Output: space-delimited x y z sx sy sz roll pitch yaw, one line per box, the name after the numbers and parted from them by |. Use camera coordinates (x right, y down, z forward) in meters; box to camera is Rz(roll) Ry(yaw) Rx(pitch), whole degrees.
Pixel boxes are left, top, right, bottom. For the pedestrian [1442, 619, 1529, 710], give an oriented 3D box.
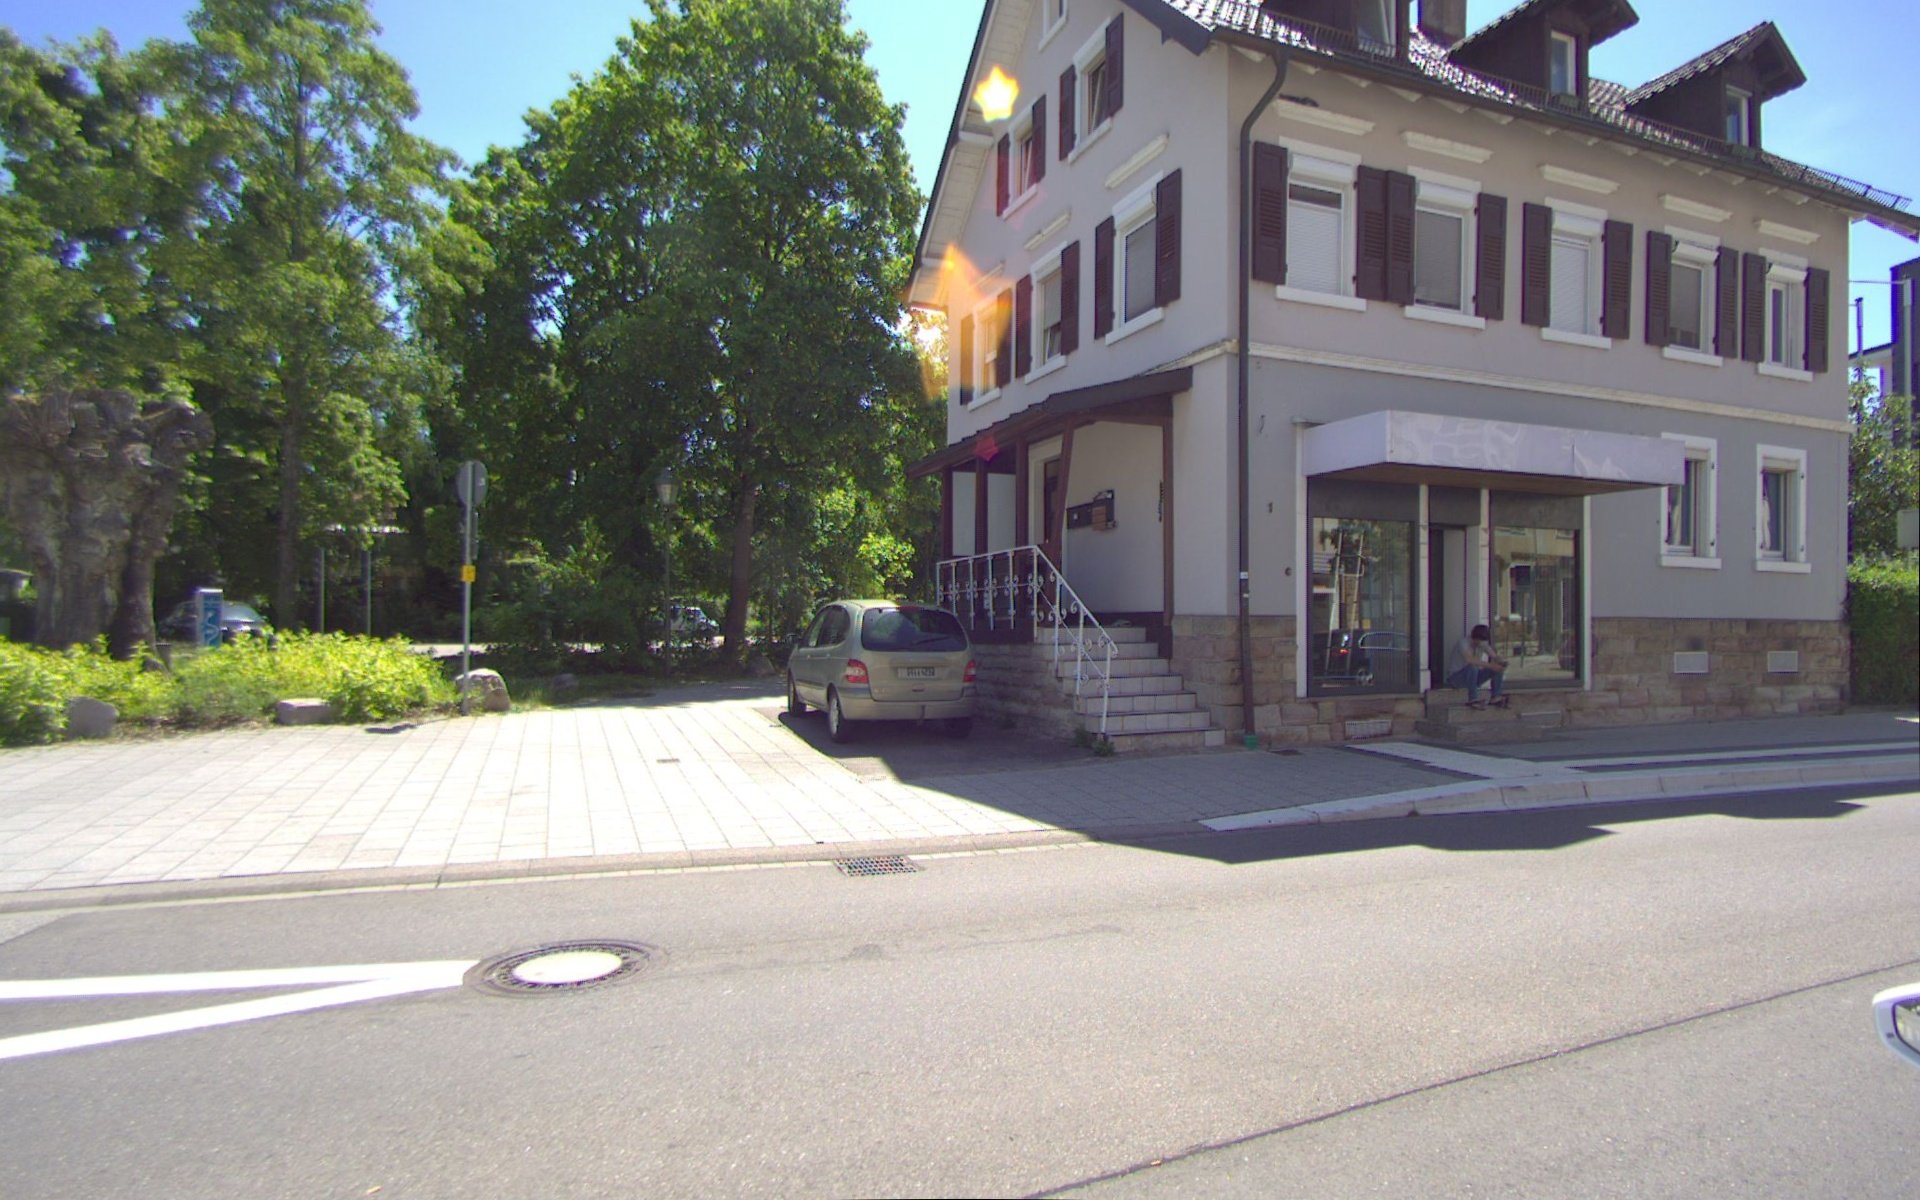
6.446 0.767 12.335 0.690 1.068 0.668 1 0 -26 | pedestrian

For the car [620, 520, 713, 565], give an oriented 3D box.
-14.359 -2.808 49.333 3.920 2.040 2.000 1 0 2 | car

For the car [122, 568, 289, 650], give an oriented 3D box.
-20.076 0.231 26.735 3.925 2.040 1.998 0 0 26 | car

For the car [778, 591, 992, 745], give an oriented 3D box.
-1.134 0.749 12.971 1.731 1.662 3.981 1 0 -20 | car
